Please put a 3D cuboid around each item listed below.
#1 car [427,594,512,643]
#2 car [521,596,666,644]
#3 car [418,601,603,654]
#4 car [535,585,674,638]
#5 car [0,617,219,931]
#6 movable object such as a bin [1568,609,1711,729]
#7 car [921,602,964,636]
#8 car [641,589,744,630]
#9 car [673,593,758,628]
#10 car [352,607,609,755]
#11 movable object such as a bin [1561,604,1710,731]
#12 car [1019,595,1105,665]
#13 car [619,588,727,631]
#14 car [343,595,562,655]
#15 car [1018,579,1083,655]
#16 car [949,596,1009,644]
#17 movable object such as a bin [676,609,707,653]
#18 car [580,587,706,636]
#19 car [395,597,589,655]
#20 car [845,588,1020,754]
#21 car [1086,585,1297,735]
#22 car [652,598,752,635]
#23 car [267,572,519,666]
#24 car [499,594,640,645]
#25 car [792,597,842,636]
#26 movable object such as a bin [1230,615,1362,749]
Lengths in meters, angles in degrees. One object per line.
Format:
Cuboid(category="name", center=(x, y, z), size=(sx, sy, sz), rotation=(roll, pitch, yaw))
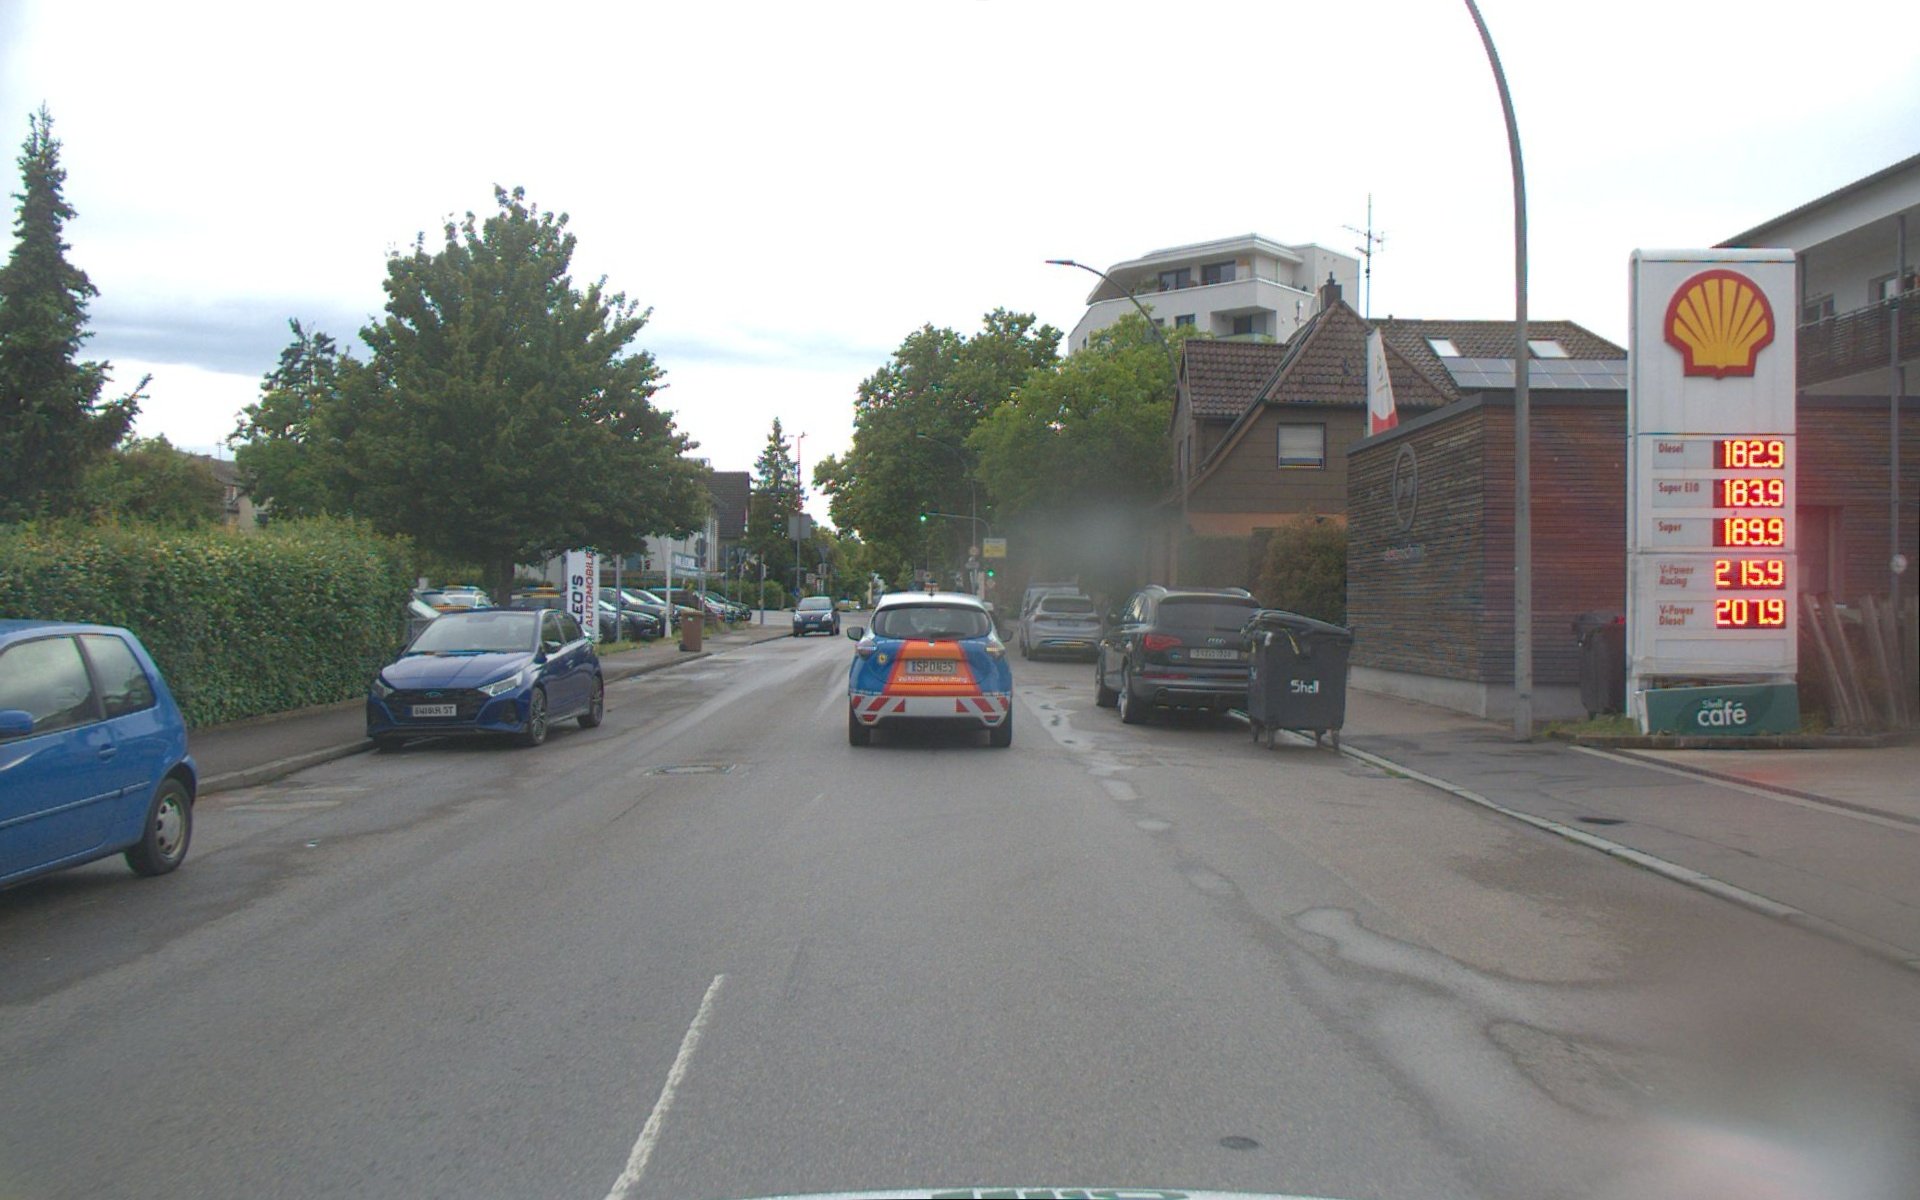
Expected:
Cuboid(category="car", center=(-16.263, 0.591, 55.063), size=(1.657, 1.557, 4.000), rotation=(0, 0, 0))
Cuboid(category="car", center=(-11.871, 0.644, 53.745), size=(4.258, 1.489, 1.941), rotation=(1, 0, 0))
Cuboid(category="car", center=(-11.757, 0.703, 43.470), size=(4.361, 1.355, 1.771), rotation=(0, 0, -1))
Cuboid(category="car", center=(-12.017, 0.377, 56.130), size=(4.258, 1.721, 2.058), rotation=(1, 0, 0))
Cuboid(category="car", center=(-5.232, 0.836, 8.205), size=(1.514, 1.427, 3.596), rotation=(-1, 0, -1))
Cuboid(category="movable object such as a bin", center=(8.023, 0.794, 19.599), size=(1.080, 1.363, 1.384), rotation=(0, 0, -3))
Cuboid(category="car", center=(-0.847, 0.882, 78.523), size=(1.759, 1.453, 3.997), rotation=(2, 1, -4))
Cuboid(category="car", center=(-11.065, 0.390, 68.563), size=(3.904, 1.571, 1.804), rotation=(1, 0, 1))
Cuboid(category="car", center=(-11.606, 0.495, 78.347), size=(3.876, 1.557, 1.618), rotation=(2, 1, -11))
Cuboid(category="car", center=(-5.239, 0.826, 18.604), size=(1.770, 1.427, 3.944), rotation=(-1, 0, -1))
Cuboid(category="movable object such as a bin", center=(7.606, 0.736, 18.704), size=(1.080, 1.363, 1.384), rotation=(0, 0, -3))
Cuboid(category="car", center=(2.584, 0.733, 42.788), size=(1.828, 1.694, 4.319), rotation=(1, 0, -1))
Cuboid(category="car", center=(-11.324, 0.380, 65.434), size=(3.904, 1.571, 1.804), rotation=(1, 0, 1))
Cuboid(category="car", center=(-11.653, 0.559, 38.186), size=(4.465, 1.332, 1.888), rotation=(0, 0, -1))
Cuboid(category="car", center=(2.642, 0.455, 48.940), size=(1.741, 2.064, 4.755), rotation=(2, 1, 1))
Cuboid(category="car", center=(0.685, 0.727, 61.514), size=(1.954, 1.601, 3.998), rotation=(2, 1, -3))
Cuboid(category="movable object such as a bin", center=(-7.126, 0.825, 43.919), size=(0.693, 1.150, 0.735), rotation=(1, 0, -1))
Cuboid(category="car", center=(-11.693, 0.420, 61.275), size=(4.258, 1.720, 1.959), rotation=(1, 0, 0))
Cuboid(category="car", center=(-11.601, 0.644, 41.177), size=(4.287, 1.398, 1.888), rotation=(0, 0, -1))
Cuboid(category="car", center=(-0.305, 0.682, 18.265), size=(1.710, 1.608, 3.999), rotation=(0, 1, -1))
Cuboid(category="car", center=(2.930, 0.692, 21.978), size=(2.049, 1.691, 4.558), rotation=(2, 1, -1))
Cuboid(category="car", center=(-11.052, 0.690, 70.998), size=(3.904, 1.466, 1.804), rotation=(1, 0, 1))
Cuboid(category="car", center=(-11.358, 0.378, 33.379), size=(4.469, 1.821, 1.896), rotation=(0, 0, -5))
Cuboid(category="car", center=(-12.064, 0.595, 51.200), size=(3.905, 1.489, 1.839), rotation=(1, 0, 0))
Cuboid(category="car", center=(-5.561, 0.622, 64.839), size=(1.593, 1.458, 3.684), rotation=(0, 0, 1))
Cuboid(category="movable object such as a bin", center=(3.703, 0.880, 18.365), size=(1.104, 1.413, 1.503), rotation=(0, 0, -3))
